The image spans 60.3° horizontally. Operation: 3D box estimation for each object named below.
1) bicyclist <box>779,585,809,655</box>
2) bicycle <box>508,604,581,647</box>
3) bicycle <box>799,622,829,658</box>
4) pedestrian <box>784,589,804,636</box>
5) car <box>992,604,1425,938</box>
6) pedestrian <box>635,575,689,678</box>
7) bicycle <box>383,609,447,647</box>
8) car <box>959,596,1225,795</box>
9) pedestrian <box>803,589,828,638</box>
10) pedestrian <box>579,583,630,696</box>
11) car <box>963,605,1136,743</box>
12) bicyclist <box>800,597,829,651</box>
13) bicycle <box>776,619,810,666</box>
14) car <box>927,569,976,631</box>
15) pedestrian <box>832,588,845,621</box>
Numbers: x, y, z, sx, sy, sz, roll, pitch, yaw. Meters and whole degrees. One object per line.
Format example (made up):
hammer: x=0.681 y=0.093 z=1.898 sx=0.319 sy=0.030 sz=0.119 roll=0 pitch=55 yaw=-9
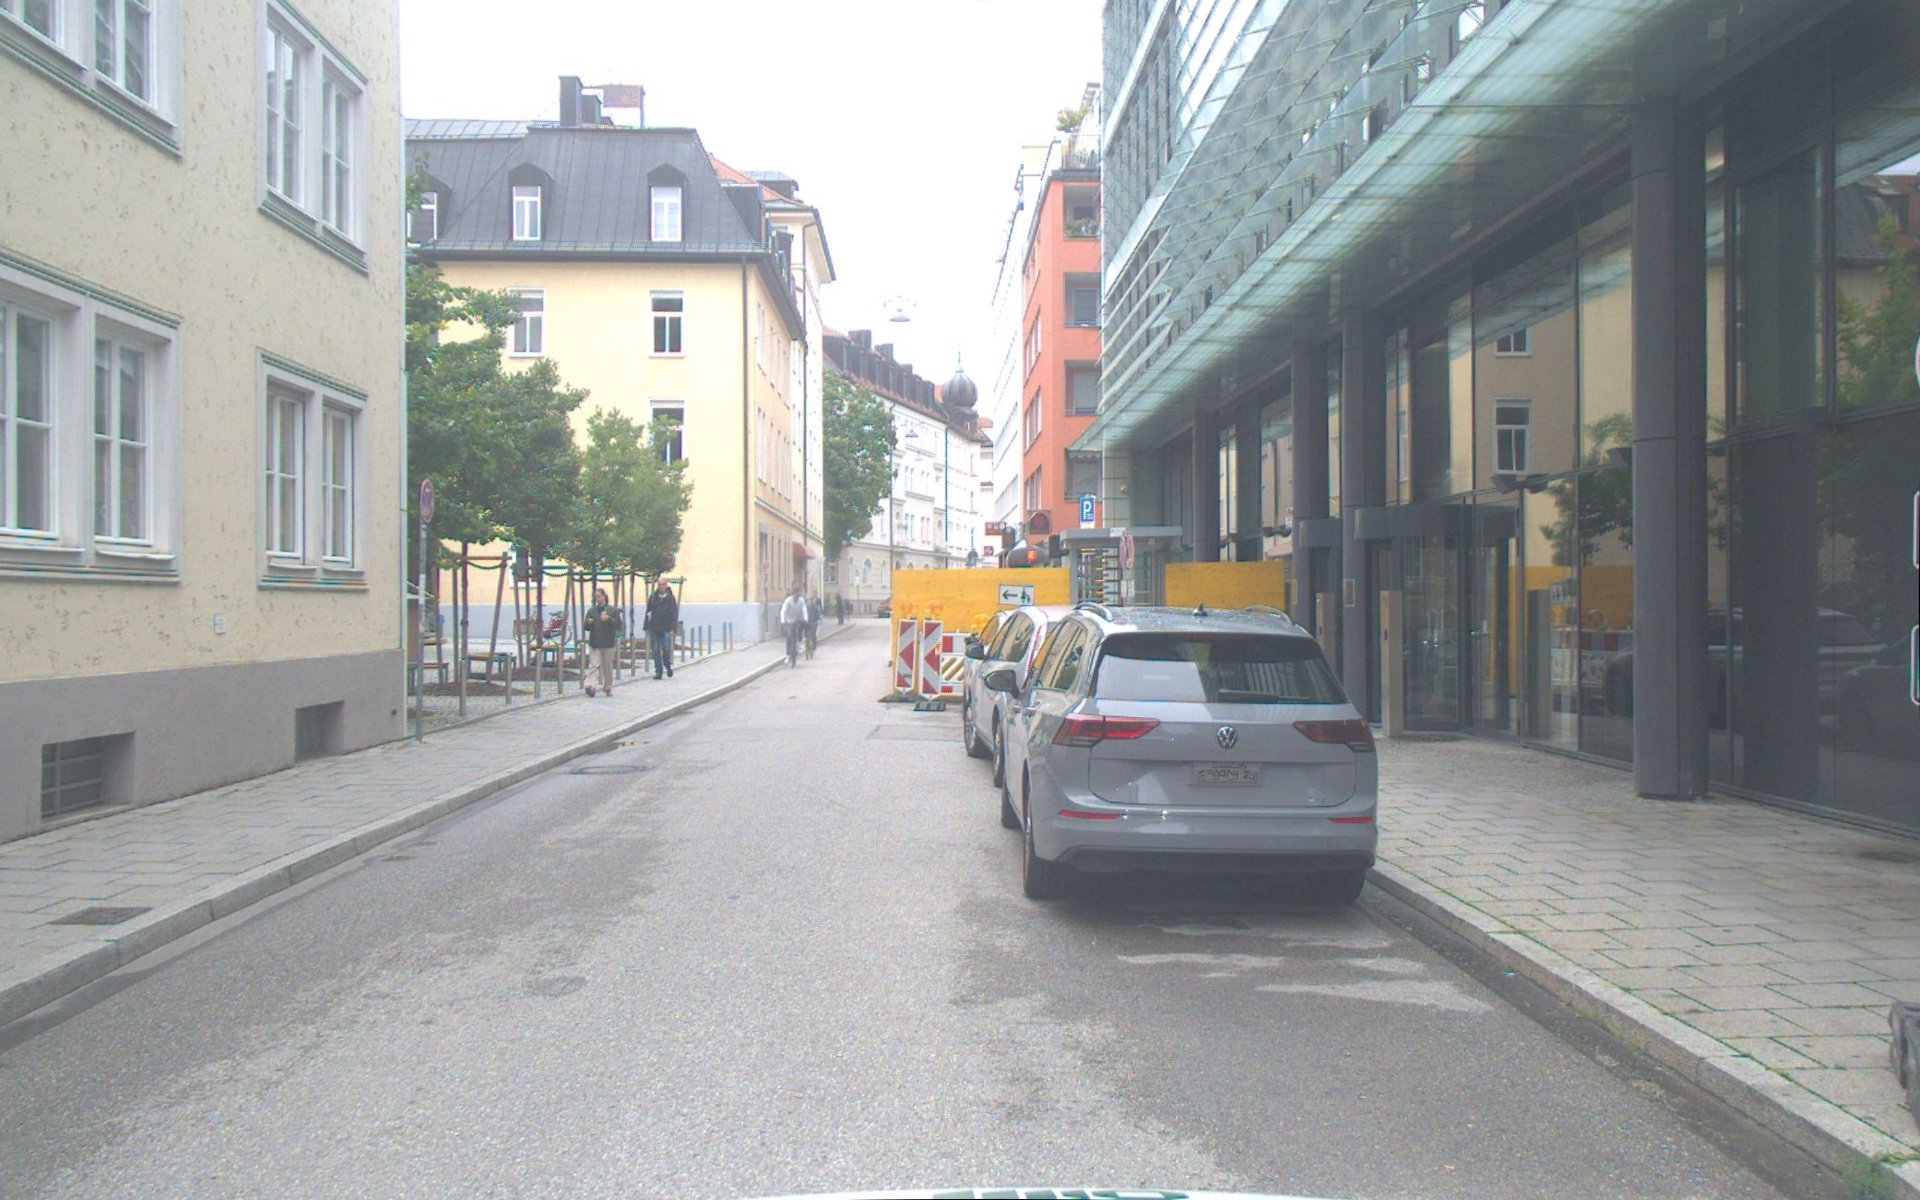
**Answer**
bicyclist: x=-3.985 y=0.474 z=39.673 sx=0.646 sy=1.671 sz=0.895 roll=-1 pitch=0 yaw=-2
bicycle: x=-12.181 y=0.741 z=48.489 sx=2.000 sy=1.218 sz=0.570 roll=0 pitch=0 yaw=5
bicycle: x=-3.873 y=1.052 z=43.935 sx=0.693 sy=0.921 sz=1.809 roll=-1 pitch=0 yaw=-2
pedestrian: x=-5.992 y=0.442 z=59.616 sx=0.657 sy=1.677 sz=0.761 roll=0 pitch=-1 yaw=-2
car: x=1.143 y=0.756 z=9.461 sx=1.673 sy=1.457 sz=4.327 roll=0 pitch=0 yaw=-2
pedestrian: x=-5.662 y=0.497 z=31.469 sx=0.850 sy=1.914 sz=1.134 roll=0 pitch=0 yaw=-3
bicycle: x=-15.843 y=0.814 z=48.088 sx=1.621 sy=1.088 sz=0.598 roll=1 pitch=0 yaw=2
car: x=1.013 y=0.745 z=14.752 sx=1.674 sy=1.493 sz=4.232 roll=1 pitch=0 yaw=-5
pedestrian: x=-5.158 y=0.491 z=59.002 sx=0.822 sy=1.730 sz=0.802 roll=0 pitch=-1 yaw=-2
pedestrian: x=-5.444 y=0.598 z=25.359 sx=0.634 sy=1.706 sz=0.723 roll=0 pitch=-1 yaw=-3
car: x=0.962 y=0.805 z=19.911 sx=1.673 sy=1.439 sz=4.508 roll=1 pitch=0 yaw=-2
bicyclist: x=-3.870 y=0.633 z=43.973 sx=0.693 sy=1.395 sz=0.813 roll=-1 pitch=0 yaw=-2
bicycle: x=-3.985 y=1.001 z=39.596 sx=0.648 sy=1.057 sz=2.004 roll=-1 pitch=0 yaw=-2
car: x=-0.399 y=0.002 z=72.007 sx=1.953 sy=2.581 sz=4.972 roll=0 pitch=0 yaw=-2
pedestrian: x=-6.260 y=0.229 z=84.959 sx=0.622 sy=1.704 sz=0.517 roll=0 pitch=0 yaw=-2
